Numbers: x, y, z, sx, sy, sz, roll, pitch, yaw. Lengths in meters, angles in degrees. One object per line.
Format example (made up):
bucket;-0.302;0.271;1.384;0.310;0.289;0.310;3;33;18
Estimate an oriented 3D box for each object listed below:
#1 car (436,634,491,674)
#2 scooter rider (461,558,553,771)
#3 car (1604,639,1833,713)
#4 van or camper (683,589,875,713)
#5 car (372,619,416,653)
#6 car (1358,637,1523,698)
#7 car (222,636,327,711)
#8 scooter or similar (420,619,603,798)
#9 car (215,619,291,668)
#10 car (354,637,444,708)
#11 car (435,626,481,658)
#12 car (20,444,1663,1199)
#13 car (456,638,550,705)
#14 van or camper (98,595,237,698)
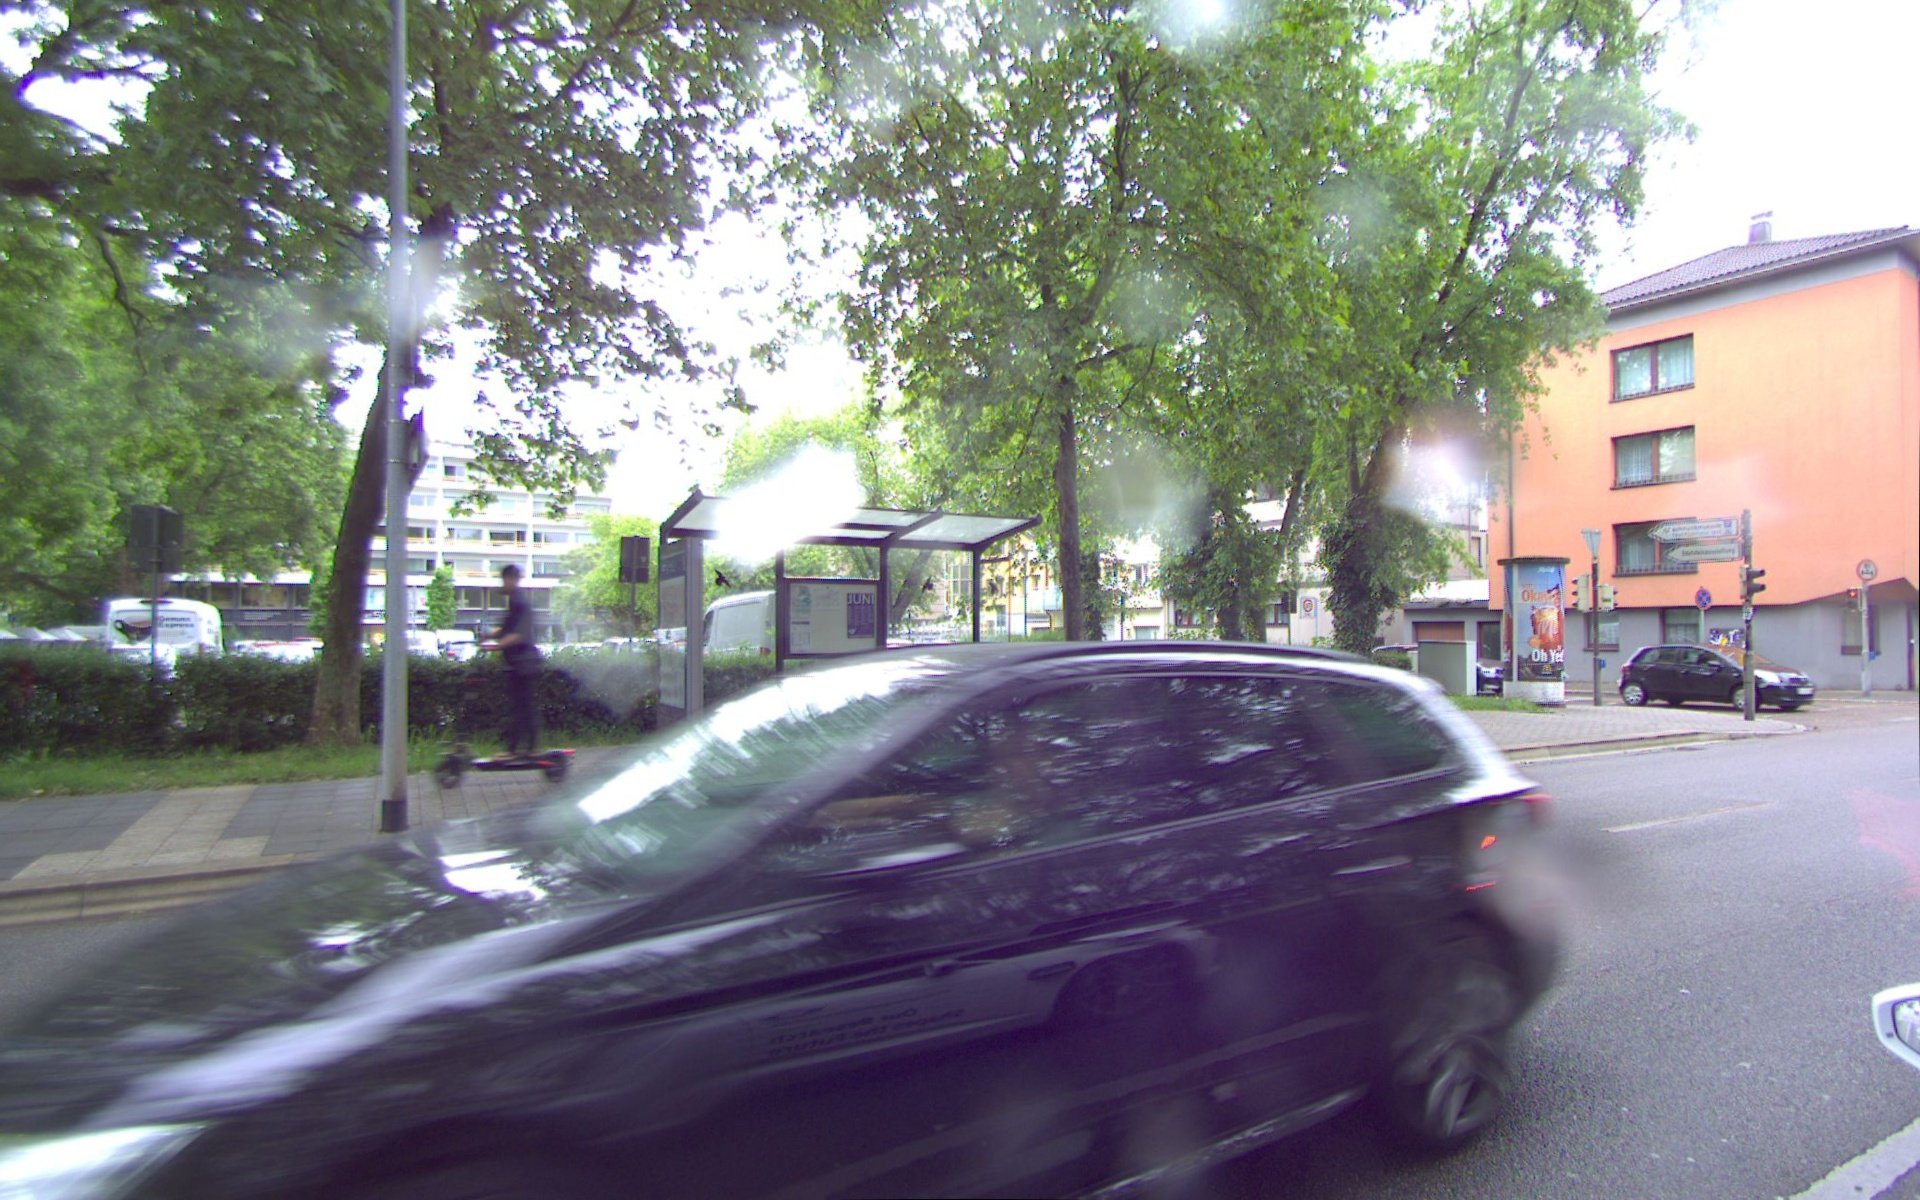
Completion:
car;-22.124;2.371;44.688;1.876;1.506;3.966;2;0;-31
scooter rider;-4.036;0.558;8.935;0.637;1.789;0.730;2;-2;-29
car;17.431;1.702;23.289;1.777;1.553;3.844;1;-3;-25
van or camper;-3.458;0.892;18.472;1.978;1.975;4.572;1;-2;-31
car;-32.493;2.059;57.612;2.075;1.745;3.966;2;0;-31
car;14.518;2.004;30.577;1.710;1.700;4.273;1;-3;-34
car;-16.873;1.754;24.900;1.876;1.506;3.966;2;0;-31
scooter or similar;-3.992;0.924;8.946;1.382;1.464;0.810;2;-2;-31
car;-25.069;1.507;35.738;1.876;1.506;3.966;2;0;-31
car;-14.624;1.822;26.117;1.876;1.506;3.966;2;0;-31
car;-26.982;2.225;53.942;1.876;1.506;3.966;2;0;-31
car;0.125;0.703;3.098;4.090;1.646;1.837;1;-3;-31
car;-12.530;1.885;27.409;1.876;1.506;3.966;2;0;-31
van or camper;-20.620;1.195;26.338;2.073;2.463;4.310;1;-2;-28
